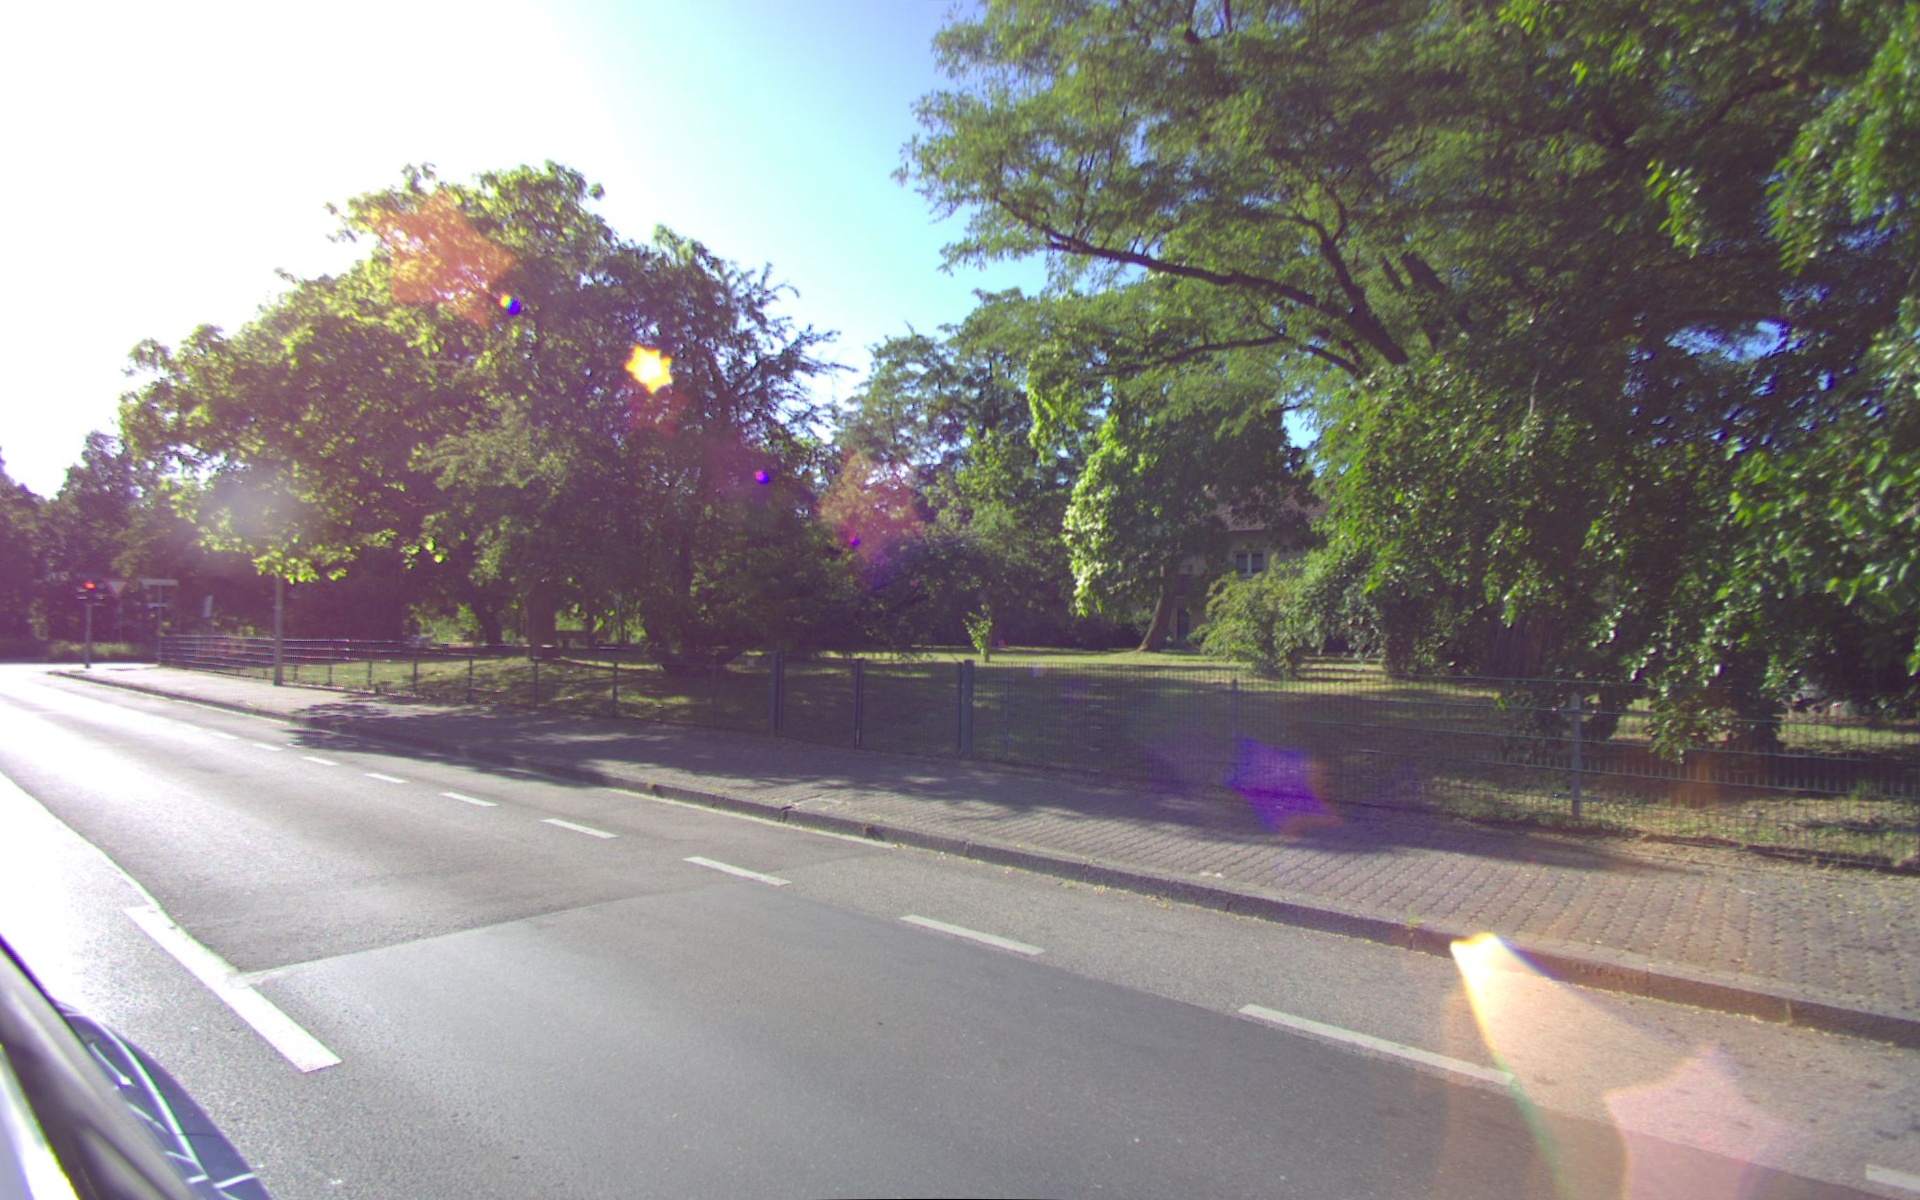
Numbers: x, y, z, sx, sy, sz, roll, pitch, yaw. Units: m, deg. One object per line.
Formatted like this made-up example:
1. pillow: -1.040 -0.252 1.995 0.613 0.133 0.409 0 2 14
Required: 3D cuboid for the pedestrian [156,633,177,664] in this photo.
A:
1. pedestrian: -42.871 2.599 54.646 0.647 1.646 0.790 -3 -2 41
